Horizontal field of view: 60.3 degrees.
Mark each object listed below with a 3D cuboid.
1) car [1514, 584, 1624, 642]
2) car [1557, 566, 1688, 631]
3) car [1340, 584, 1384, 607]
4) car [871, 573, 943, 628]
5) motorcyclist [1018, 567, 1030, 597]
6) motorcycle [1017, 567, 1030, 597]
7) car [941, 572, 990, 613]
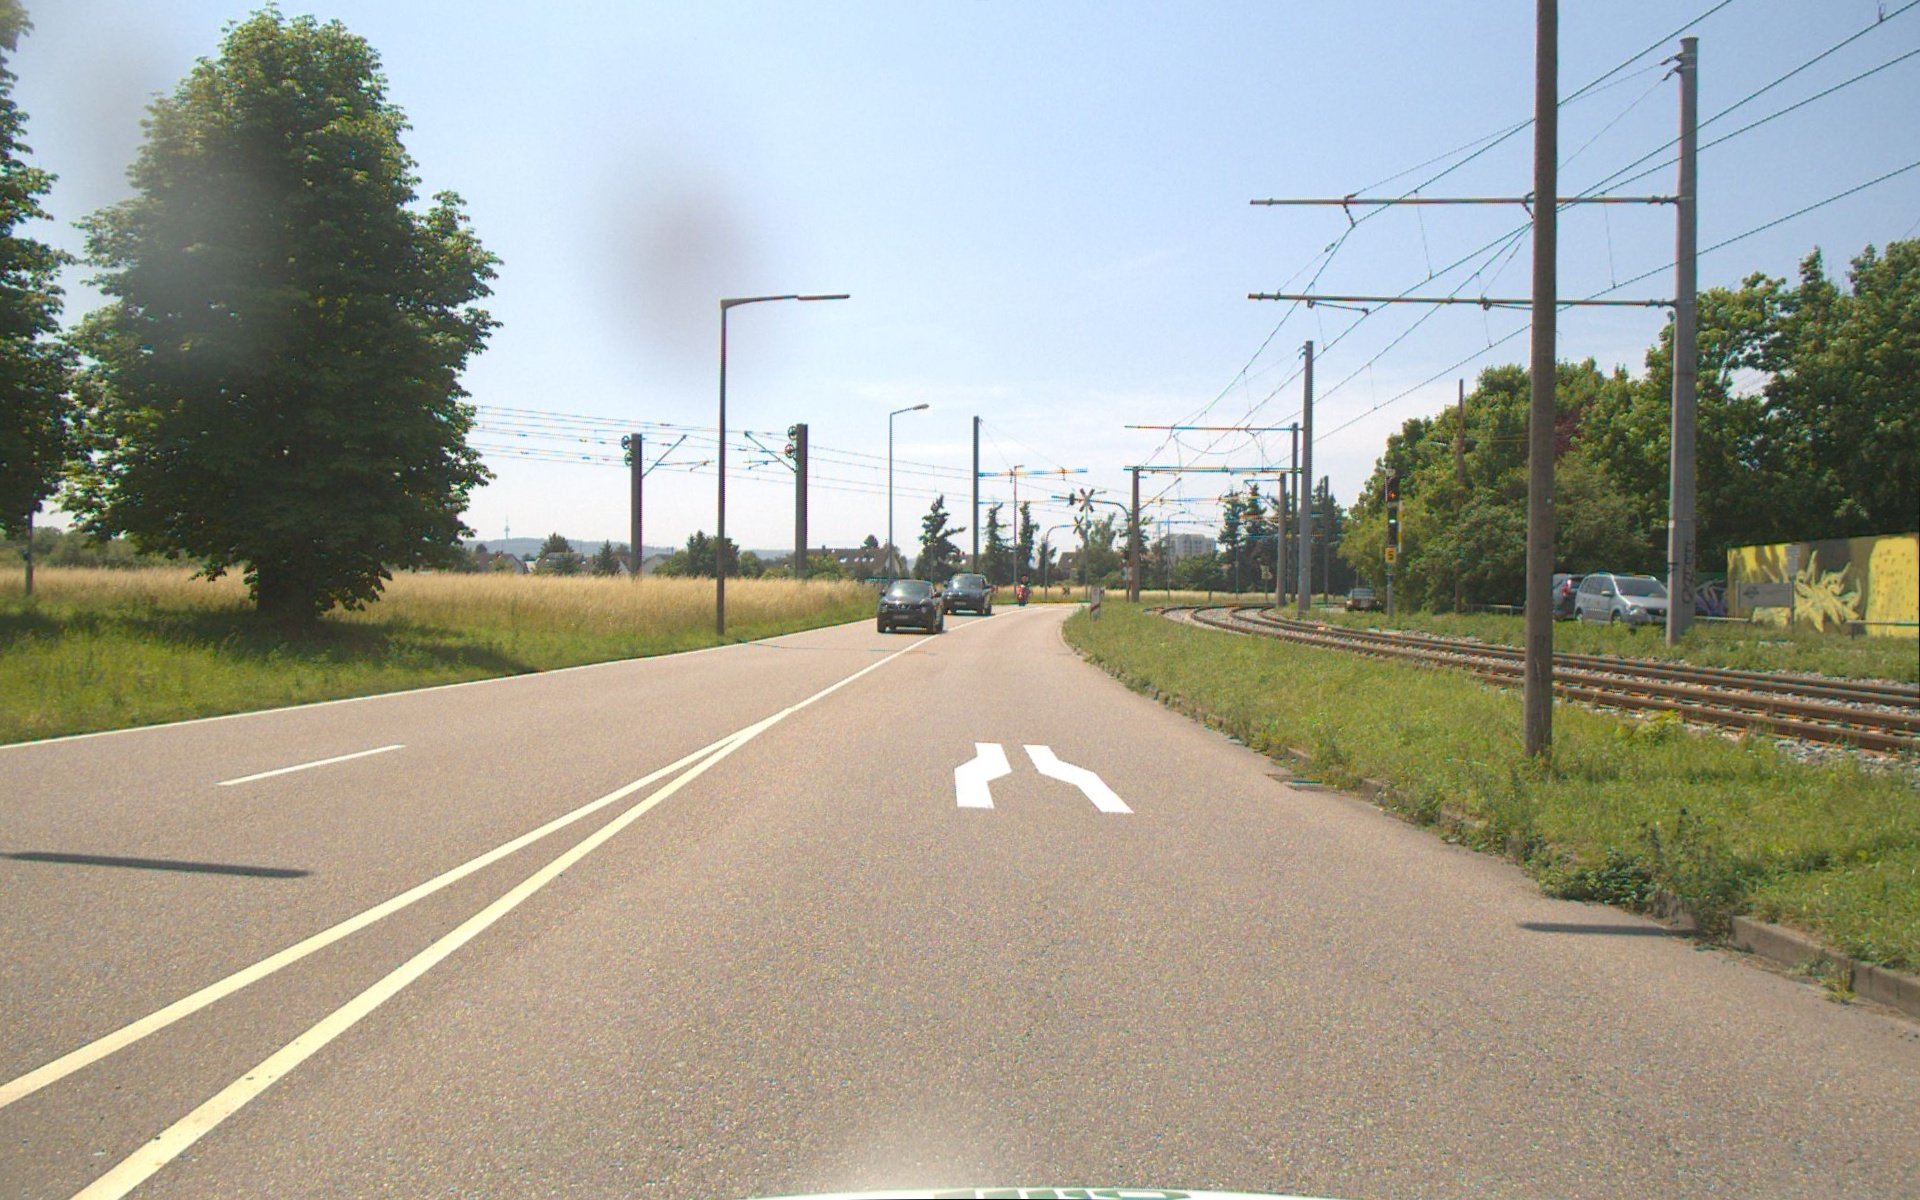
[{"bbox_3d":[18.628,0.401,50.818,1.790,1.686,4.817,0,-1,2],"label":"car"},{"bbox_3d":[17.870,-0.017,44.822,1.642,1.653,4.710,0,-1,0],"label":"car"},{"bbox_3d":[22.204,-0.226,91.417,1.610,1.191,3.669,0,-1,1],"label":"car"},{"bbox_3d":[-1.591,0.032,50.857,1.783,1.600,4.114,0,-1,4],"label":"car"},{"bbox_3d":[3.577,-1.011,92.511,0.674,1.613,0.670,0,3,2],"label":"motorcyclist"},{"bbox_3d":[3.571,-0.994,92.722,0.689,1.613,2.148,0,2,3],"label":"motorcycle"},{"bbox_3d":[0.270,-0.354,69.502,1.788,1.629,4.486,1,1,3],"label":"car"}]
